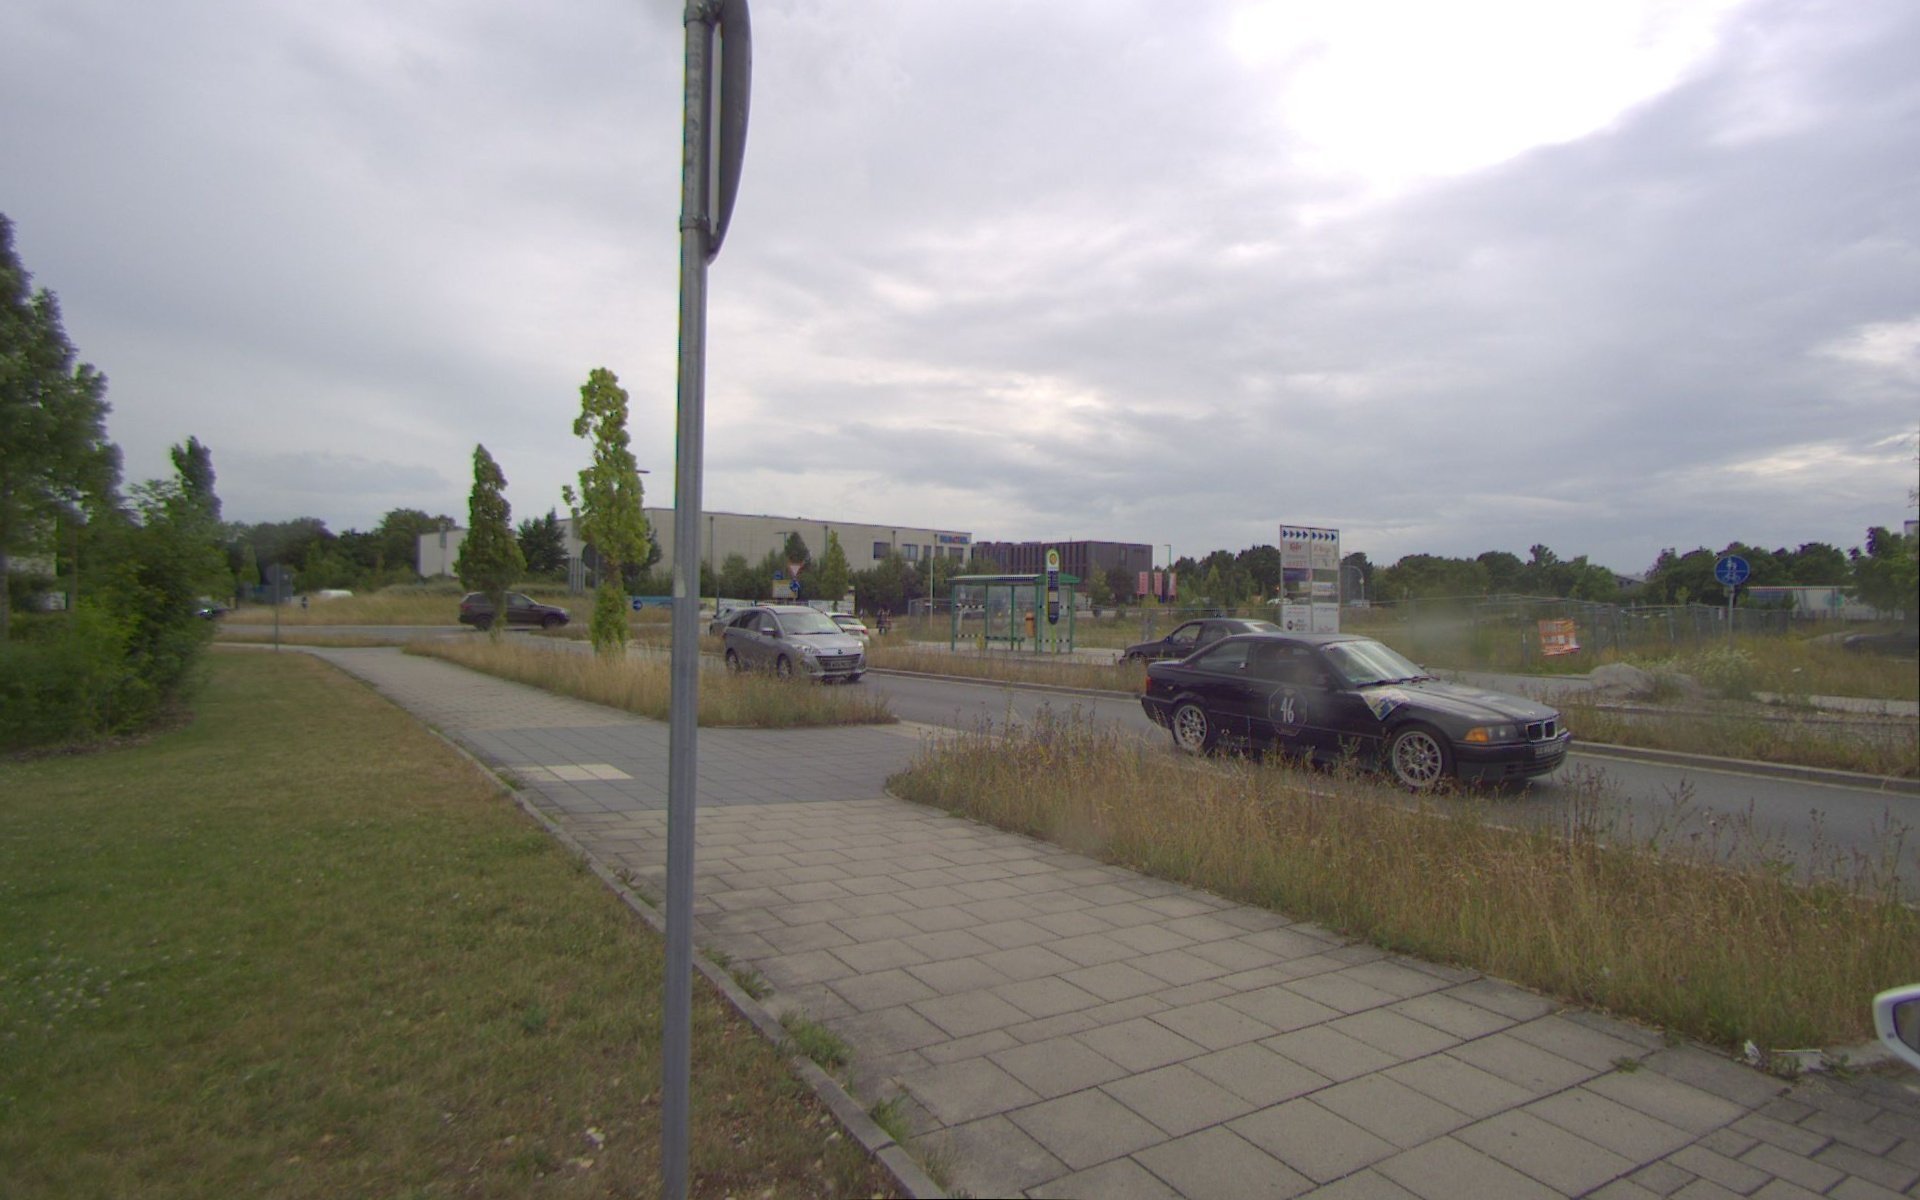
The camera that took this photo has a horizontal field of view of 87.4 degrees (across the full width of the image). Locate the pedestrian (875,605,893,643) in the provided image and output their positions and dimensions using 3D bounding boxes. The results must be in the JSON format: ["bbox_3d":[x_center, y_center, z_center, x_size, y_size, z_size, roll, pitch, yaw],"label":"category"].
[{"bbox_3d":[-3.483,1.094,46.063,0.729,1.745,0.650,2,0,-1],"label":"pedestrian"}]

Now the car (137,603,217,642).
[{"bbox_3d":[-35.754,1.012,45.843,3.935,1.662,1.888,1,0,36],"label":"car"}]

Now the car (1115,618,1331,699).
[{"bbox_3d":[5.426,1.165,21.238,1.773,1.414,4.330,2,-1,-34],"label":"car"}]

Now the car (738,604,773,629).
[{"bbox_3d":[-12.622,0.987,61.859,1.691,1.361,3.948,1,0,-18],"label":"car"}]

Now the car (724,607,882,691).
[{"bbox_3d":[-3.552,0.971,22.024,1.802,1.584,4.360,-1,1,-33],"label":"car"}]

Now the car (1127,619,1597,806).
[{"bbox_3d":[3.828,0.946,10.323,1.741,1.405,4.261,1,0,-34],"label":"car"}]

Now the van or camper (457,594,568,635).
[{"bbox_3d":[-20.843,0.681,46.836,4.519,1.772,1.984,2,0,-30],"label":"van or camper"}]

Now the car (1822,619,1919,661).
[{"bbox_3d":[39.547,1.690,42.054,1.982,1.578,4.969,2,0,-38],"label":"car"}]

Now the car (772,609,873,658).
[{"bbox_3d":[-4.864,1.143,35.069,1.742,1.500,4.012,2,0,-37],"label":"car"}]
